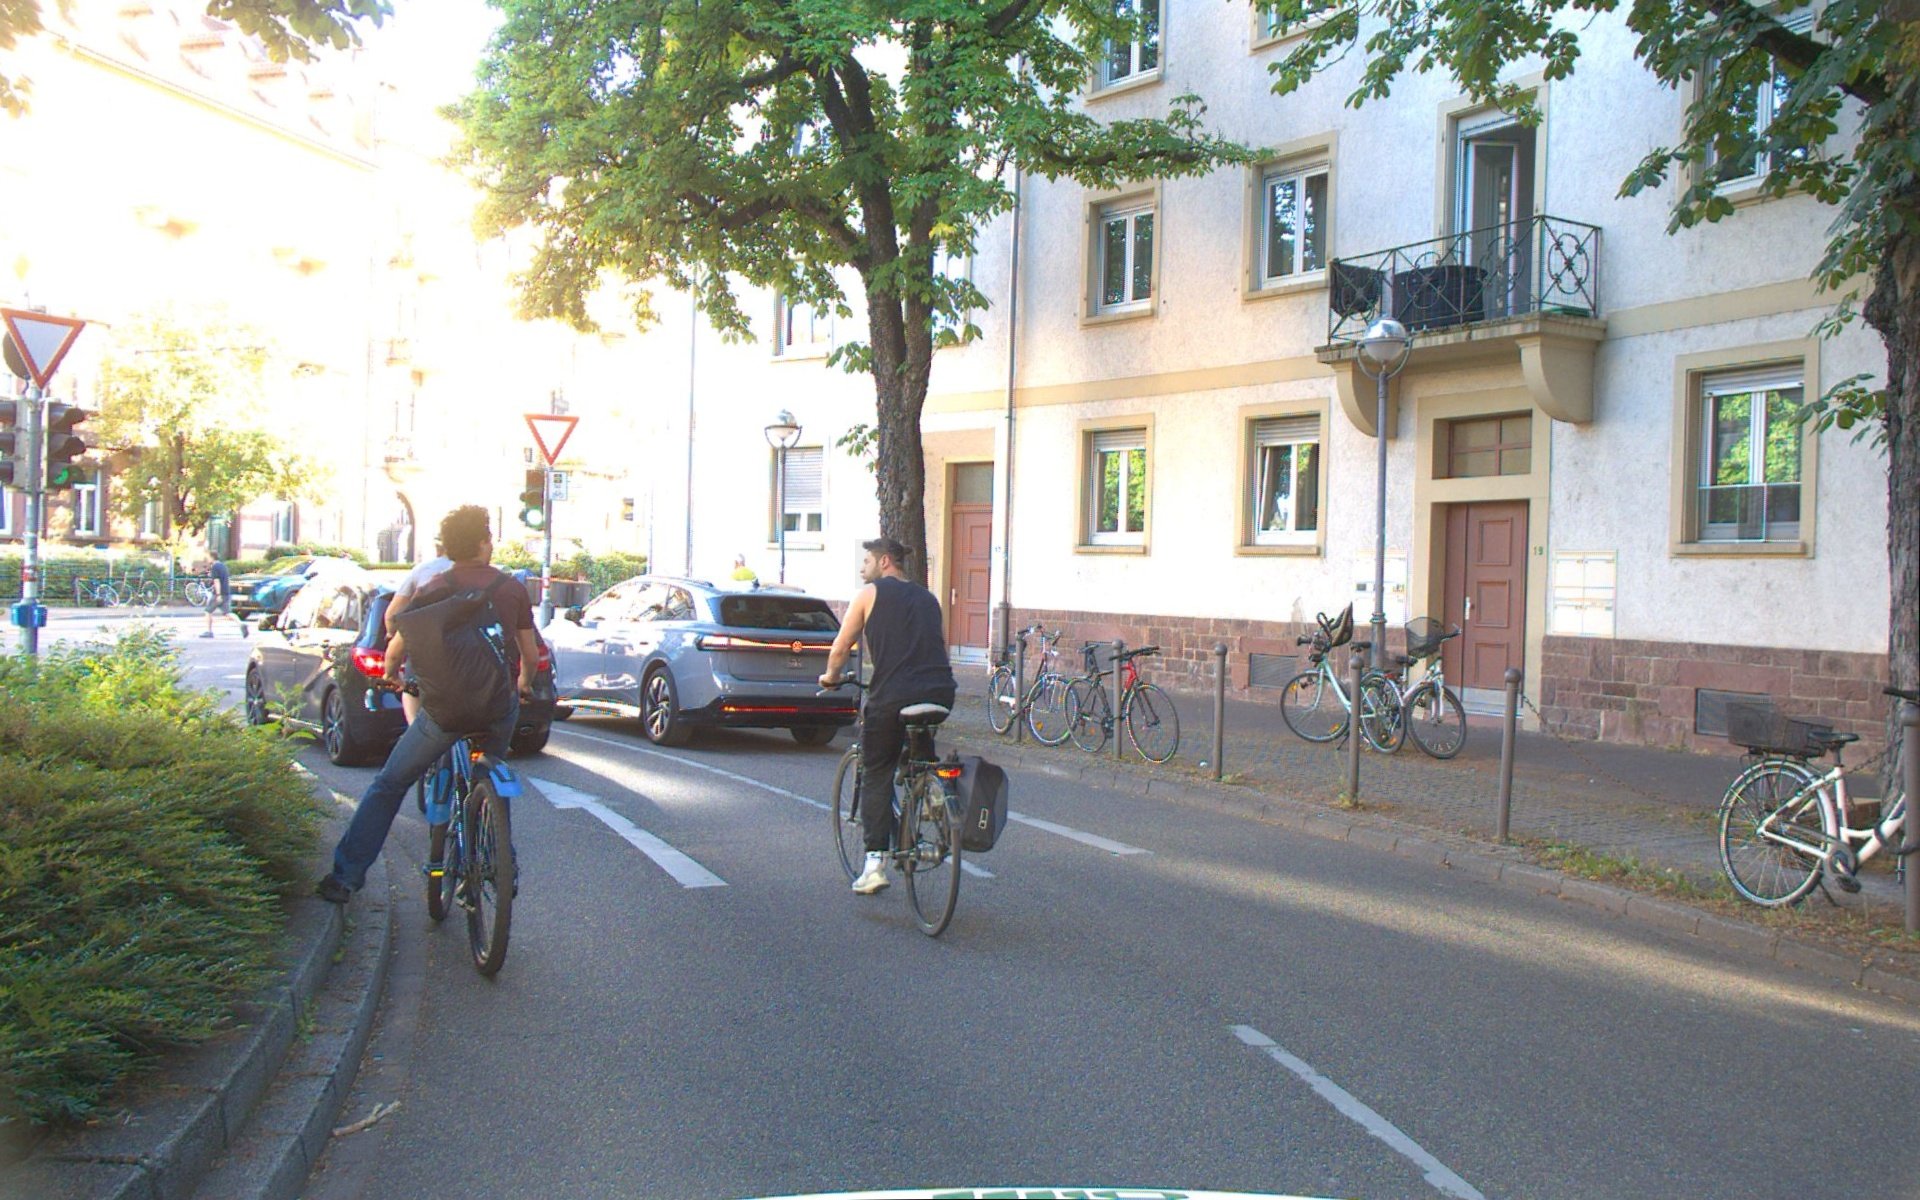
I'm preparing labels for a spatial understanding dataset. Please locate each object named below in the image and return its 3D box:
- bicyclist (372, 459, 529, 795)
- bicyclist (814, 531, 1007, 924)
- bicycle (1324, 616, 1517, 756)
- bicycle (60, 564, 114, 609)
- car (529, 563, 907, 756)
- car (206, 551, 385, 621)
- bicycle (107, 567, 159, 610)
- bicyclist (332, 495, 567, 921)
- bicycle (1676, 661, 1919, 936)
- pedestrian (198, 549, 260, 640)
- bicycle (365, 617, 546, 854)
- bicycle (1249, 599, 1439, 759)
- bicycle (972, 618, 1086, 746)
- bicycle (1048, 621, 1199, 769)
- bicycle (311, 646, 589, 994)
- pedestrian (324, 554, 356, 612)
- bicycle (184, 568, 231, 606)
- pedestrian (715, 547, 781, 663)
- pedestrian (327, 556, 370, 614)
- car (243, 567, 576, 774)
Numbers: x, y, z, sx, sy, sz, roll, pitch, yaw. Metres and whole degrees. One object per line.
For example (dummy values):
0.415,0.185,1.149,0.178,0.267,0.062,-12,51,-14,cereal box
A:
-3.143,0.158,10.160,0.783,1.946,0.938,2,0,-23,bicyclist
-0.250,0.539,7.644,0.675,1.685,0.985,0,1,-15,bicyclist
4.120,0.741,14.954,0.657,1.126,1.956,2,0,-19,bicycle
-22.914,-0.354,43.422,0.433,1.126,1.233,3,1,22,bicycle
-2.566,0.525,16.549,1.953,1.613,4.422,4,-1,-34,car
-17.173,-0.360,42.993,1.901,1.678,4.412,2,0,18,car
-22.358,-0.313,44.734,0.433,1.126,1.233,3,1,22,bicycle
-2.117,0.404,6.805,0.699,1.601,0.947,2,0,-30,bicyclist
4.248,0.892,7.659,0.505,1.114,1.962,0,1,-20,bicycle
-14.064,-0.112,31.834,0.887,1.663,0.723,4,1,-15,pedestrian
-3.119,0.747,10.068,0.799,1.205,2.211,2,0,-23,bicycle
3.423,0.666,14.927,0.707,1.299,1.955,0,1,-21,bicycle
0.642,0.761,16.001,0.474,1.082,1.625,-1,2,-22,bicycle
1.394,0.787,14.385,0.519,1.126,1.728,-1,2,-24,bicycle
-2.165,0.806,6.837,0.709,1.126,1.948,2,0,-28,bicycle
-19.122,-0.523,51.017,0.649,1.745,0.635,2,0,29,pedestrian
-21.455,-0.362,47.181,0.433,1.056,1.233,3,1,21,bicycle
-3.298,0.062,25.737,0.639,1.757,0.876,-2,2,-39,pedestrian
-18.517,-0.446,50.061,0.698,1.693,0.895,5,2,33,pedestrian
-4.996,0.499,14.702,1.775,1.569,3.811,-1,1,-36,car
